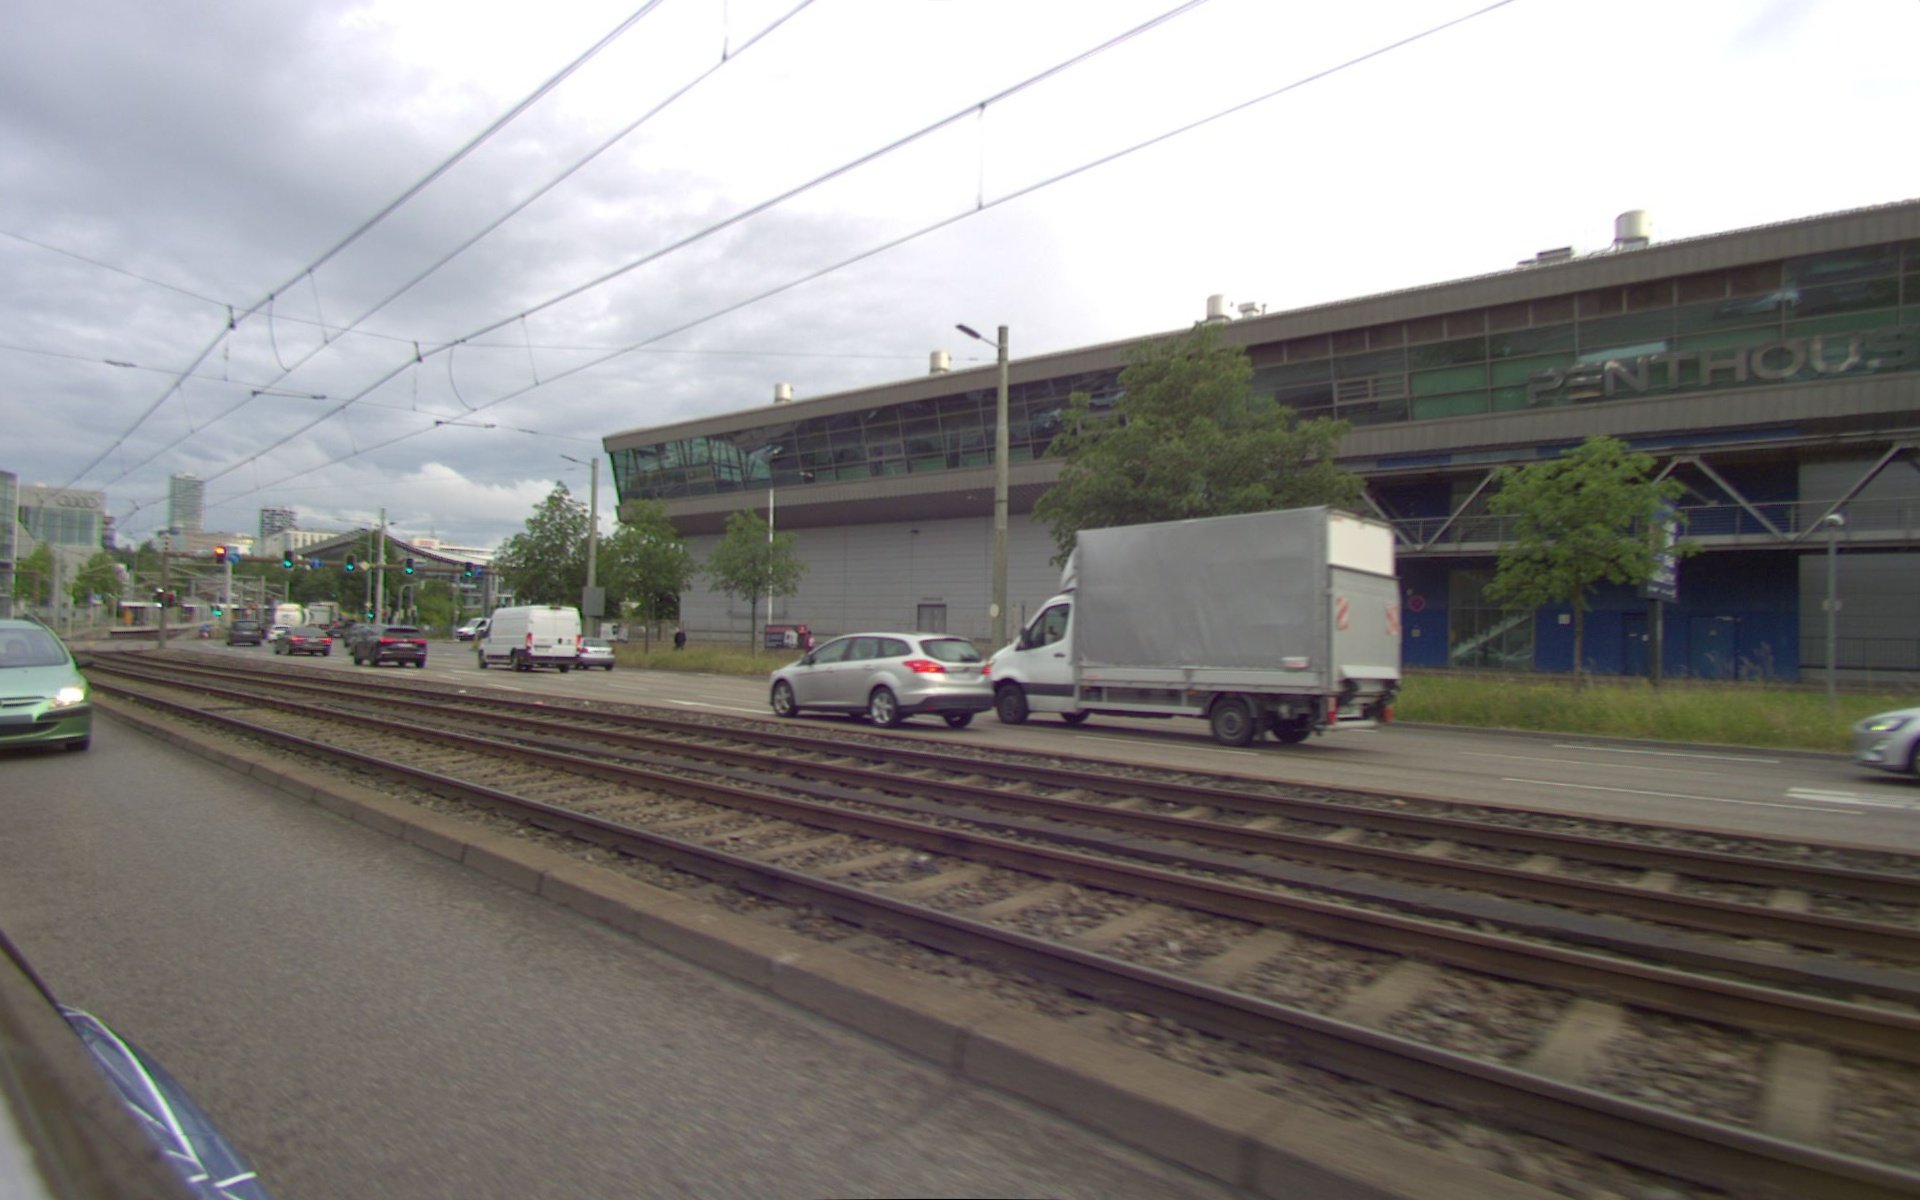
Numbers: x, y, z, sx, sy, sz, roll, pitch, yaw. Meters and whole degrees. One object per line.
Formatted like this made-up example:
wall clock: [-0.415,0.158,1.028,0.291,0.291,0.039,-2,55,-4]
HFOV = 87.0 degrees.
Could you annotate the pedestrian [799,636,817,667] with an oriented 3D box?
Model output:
pedestrian: [-7.733,2.602,51.379,0.542,1.509,0.759,-1,-1,-44]

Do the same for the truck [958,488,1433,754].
truck: [3.457,0.435,16.395,2.696,3.383,7.156,5,-5,-44]

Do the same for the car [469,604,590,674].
car: [-17.003,1.553,39.758,2.402,2.519,6.557,4,-4,-41]

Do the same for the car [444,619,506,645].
car: [-45.795,3.075,95.688,1.994,2.350,5.008,-1,-3,32]

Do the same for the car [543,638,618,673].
car: [-16.617,2.422,44.220,1.726,1.410,4.005,4,-4,-42]

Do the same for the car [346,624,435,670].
car: [-22.258,1.828,39.490,1.886,1.669,4.364,5,-5,-44]

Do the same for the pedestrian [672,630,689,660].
pedestrian: [-15.414,2.475,55.773,0.627,1.575,0.675,-1,0,43]

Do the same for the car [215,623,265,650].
car: [-49.941,2.523,70.185,4.680,1.745,1.971,-2,-4,44]

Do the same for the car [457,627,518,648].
car: [-43.114,3.405,92.396,1.996,1.849,4.605,-1,-3,37]

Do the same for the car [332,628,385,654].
car: [-41.128,2.779,69.166,4.475,1.696,1.971,-2,-4,44]

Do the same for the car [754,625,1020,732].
car: [-1.301,1.231,16.492,4.443,1.510,1.785,-2,-6,44]

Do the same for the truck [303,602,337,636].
truck: [-88.394,2.710,139.850,3.213,4.564,7.114,2,-3,-27]

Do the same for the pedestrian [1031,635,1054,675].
pedestrian: [3.079,2.033,37.705,0.651,1.467,0.507,-1,0,33]

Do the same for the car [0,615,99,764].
car: [-11.397,0.953,11.701,4.137,1.509,1.738,-1,0,43]

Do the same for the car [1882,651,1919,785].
car: [12.844,1.333,10.703,1.875,1.500,4.427,4,-4,-43]

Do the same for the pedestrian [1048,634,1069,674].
pedestrian: [3.711,2.024,38.062,0.651,1.467,0.447,-1,0,33]

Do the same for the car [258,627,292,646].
car: [-55.047,2.948,81.301,1.772,1.457,3.929,3,-3,-40]

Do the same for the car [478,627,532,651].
car: [-36.841,3.199,81.998,1.801,1.839,3.847,0,-3,19]

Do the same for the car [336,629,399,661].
car: [-32.476,2.448,55.433,1.917,1.684,4.512,4,-4,-44]

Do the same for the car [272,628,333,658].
car: [-34.533,2.271,53.078,1.923,1.496,5.001,3,-4,-42]

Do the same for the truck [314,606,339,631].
truck: [-111.564,3.369,178.431,3.330,4.171,7.652,2,-3,-30]

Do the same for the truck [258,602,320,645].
truck: [-63.791,2.327,96.077,4.026,3.785,10.875,3,-3,-37]
